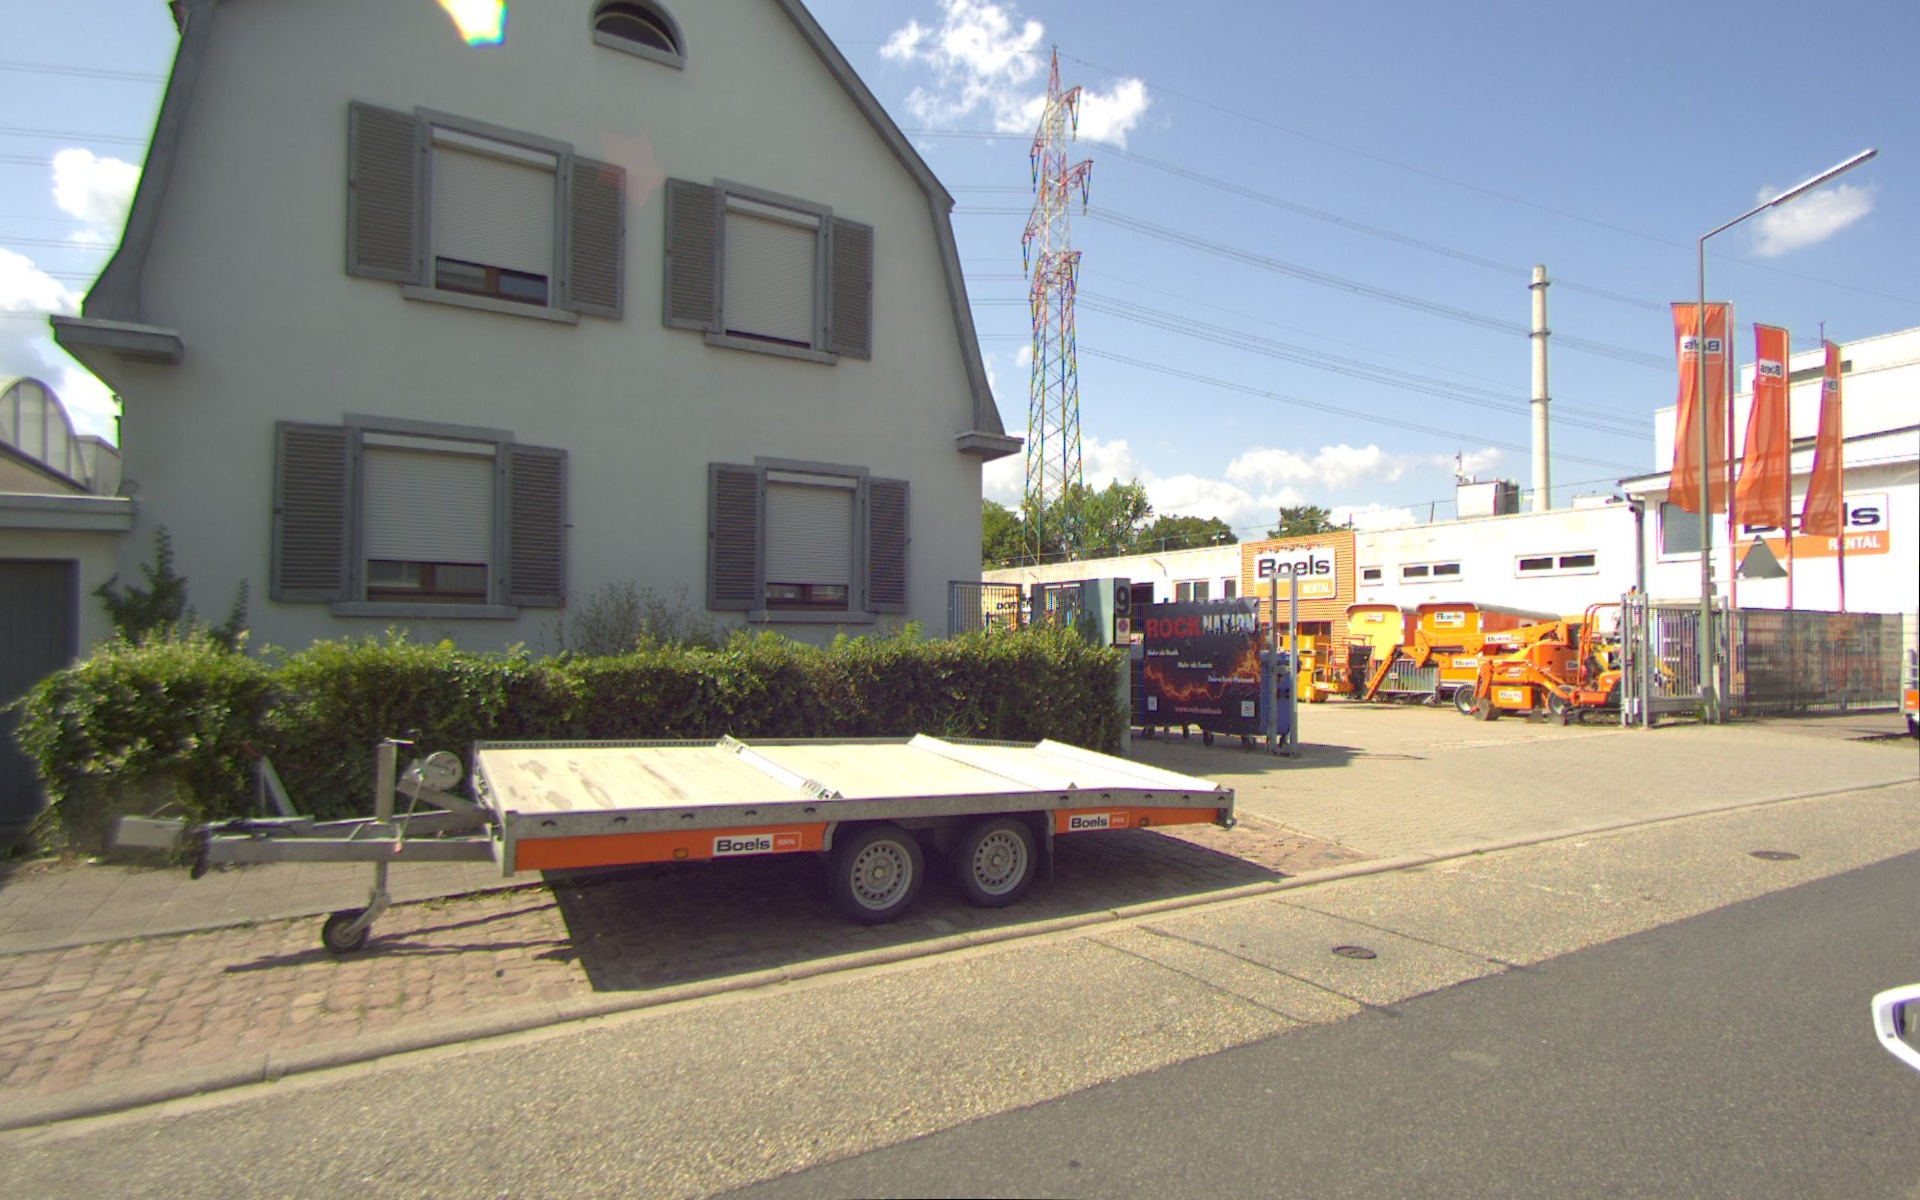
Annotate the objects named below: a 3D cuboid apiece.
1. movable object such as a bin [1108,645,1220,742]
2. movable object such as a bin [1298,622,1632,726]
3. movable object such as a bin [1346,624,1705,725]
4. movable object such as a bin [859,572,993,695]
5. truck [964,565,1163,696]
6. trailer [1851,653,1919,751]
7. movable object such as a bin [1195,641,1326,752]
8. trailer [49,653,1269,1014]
[{"bbox_3d":[3.201,1.431,15.808,1.139,1.446,1.308,2,-3,-33],"label":"movable object such as a bin"},{"bbox_3d":[11.228,1.538,23.065,1.887,2.031,6.816,1,-2,-35],"label":"movable object such as a bin"},{"bbox_3d":[13.223,1.630,24.315,1.887,2.031,7.549,1,-2,-35],"label":"movable object such as a bin"},{"bbox_3d":[-1.195,1.162,33.438,2.887,3.784,3.966,2,-3,-32],"label":"movable object such as a bin"},{"bbox_3d":[2.647,0.892,27.365,2.471,3.184,5.526,2,-3,-33],"label":"truck"},{"bbox_3d":[16.175,1.574,15.805,4.991,1.395,1.759,2,-1,-30],"label":"trailer"},{"bbox_3d":[4.185,1.311,14.037,1.176,1.446,1.308,2,-3,-33],"label":"movable object such as a bin"},{"bbox_3d":[-1.187,0.967,6.106,5.980,1.179,2.440,2,-1,-29],"label":"trailer"}]
